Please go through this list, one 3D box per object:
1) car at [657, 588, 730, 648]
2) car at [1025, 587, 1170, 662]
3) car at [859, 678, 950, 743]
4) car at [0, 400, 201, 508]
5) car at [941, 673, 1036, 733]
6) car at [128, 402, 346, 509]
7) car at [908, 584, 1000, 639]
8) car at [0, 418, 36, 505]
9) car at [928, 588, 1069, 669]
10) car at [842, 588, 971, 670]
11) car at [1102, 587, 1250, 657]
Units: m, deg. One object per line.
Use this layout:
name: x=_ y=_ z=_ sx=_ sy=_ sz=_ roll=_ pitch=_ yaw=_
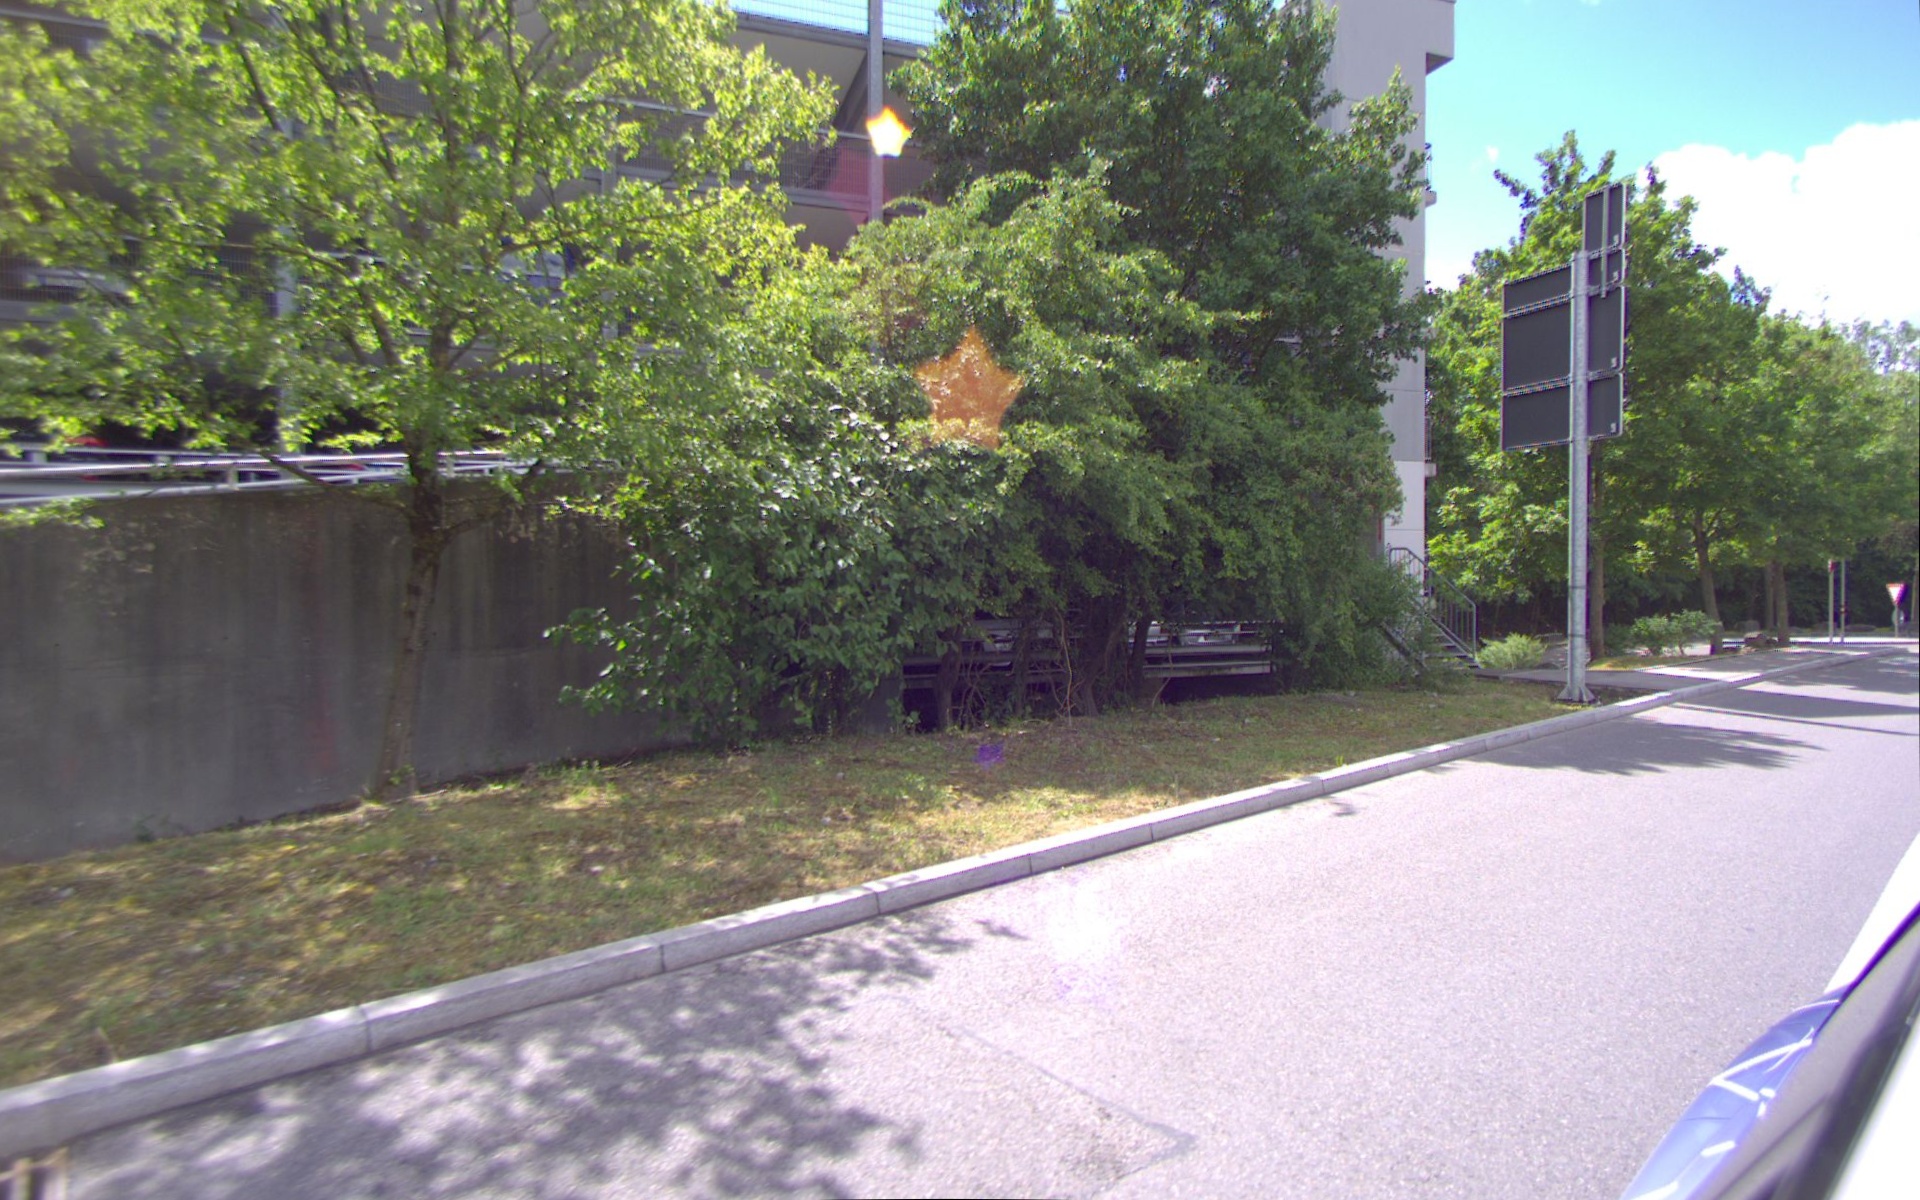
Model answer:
car: x=-7.926 y=0.473 z=30.162 sx=1.958 sy=1.651 sz=4.337 roll=0 pitch=1 yaw=-15
car: x=2.935 y=0.474 z=22.406 sx=1.630 sy=1.510 sz=3.784 roll=0 pitch=1 yaw=-19
car: x=-1.794 y=3.337 z=31.173 sx=1.958 sy=1.436 sz=4.337 roll=0 pitch=1 yaw=-15
car: x=-13.729 y=-2.193 z=15.830 sx=1.795 sy=1.341 sz=3.722 roll=0 pitch=3 yaw=-17
car: x=0.850 y=3.300 z=33.218 sx=1.958 sy=1.436 sz=4.337 roll=0 pitch=1 yaw=-15
car: x=-11.568 y=-2.247 z=16.504 sx=1.795 sy=1.341 sz=3.722 roll=0 pitch=3 yaw=-17
car: x=-0.286 y=0.322 z=32.738 sx=1.958 sy=1.651 sz=4.337 roll=0 pitch=1 yaw=-15
car: x=-15.889 y=-2.178 z=15.015 sx=1.795 sy=1.341 sz=3.722 roll=0 pitch=3 yaw=-17
car: x=0.698 y=0.516 z=21.043 sx=1.630 sy=1.488 sz=3.784 roll=0 pitch=1 yaw=-19
car: x=-1.186 y=0.513 z=20.638 sx=1.630 sy=1.488 sz=3.784 roll=0 pitch=1 yaw=-19
car: x=4.901 y=0.444 z=23.492 sx=1.630 sy=1.482 sz=3.784 roll=0 pitch=1 yaw=-19
